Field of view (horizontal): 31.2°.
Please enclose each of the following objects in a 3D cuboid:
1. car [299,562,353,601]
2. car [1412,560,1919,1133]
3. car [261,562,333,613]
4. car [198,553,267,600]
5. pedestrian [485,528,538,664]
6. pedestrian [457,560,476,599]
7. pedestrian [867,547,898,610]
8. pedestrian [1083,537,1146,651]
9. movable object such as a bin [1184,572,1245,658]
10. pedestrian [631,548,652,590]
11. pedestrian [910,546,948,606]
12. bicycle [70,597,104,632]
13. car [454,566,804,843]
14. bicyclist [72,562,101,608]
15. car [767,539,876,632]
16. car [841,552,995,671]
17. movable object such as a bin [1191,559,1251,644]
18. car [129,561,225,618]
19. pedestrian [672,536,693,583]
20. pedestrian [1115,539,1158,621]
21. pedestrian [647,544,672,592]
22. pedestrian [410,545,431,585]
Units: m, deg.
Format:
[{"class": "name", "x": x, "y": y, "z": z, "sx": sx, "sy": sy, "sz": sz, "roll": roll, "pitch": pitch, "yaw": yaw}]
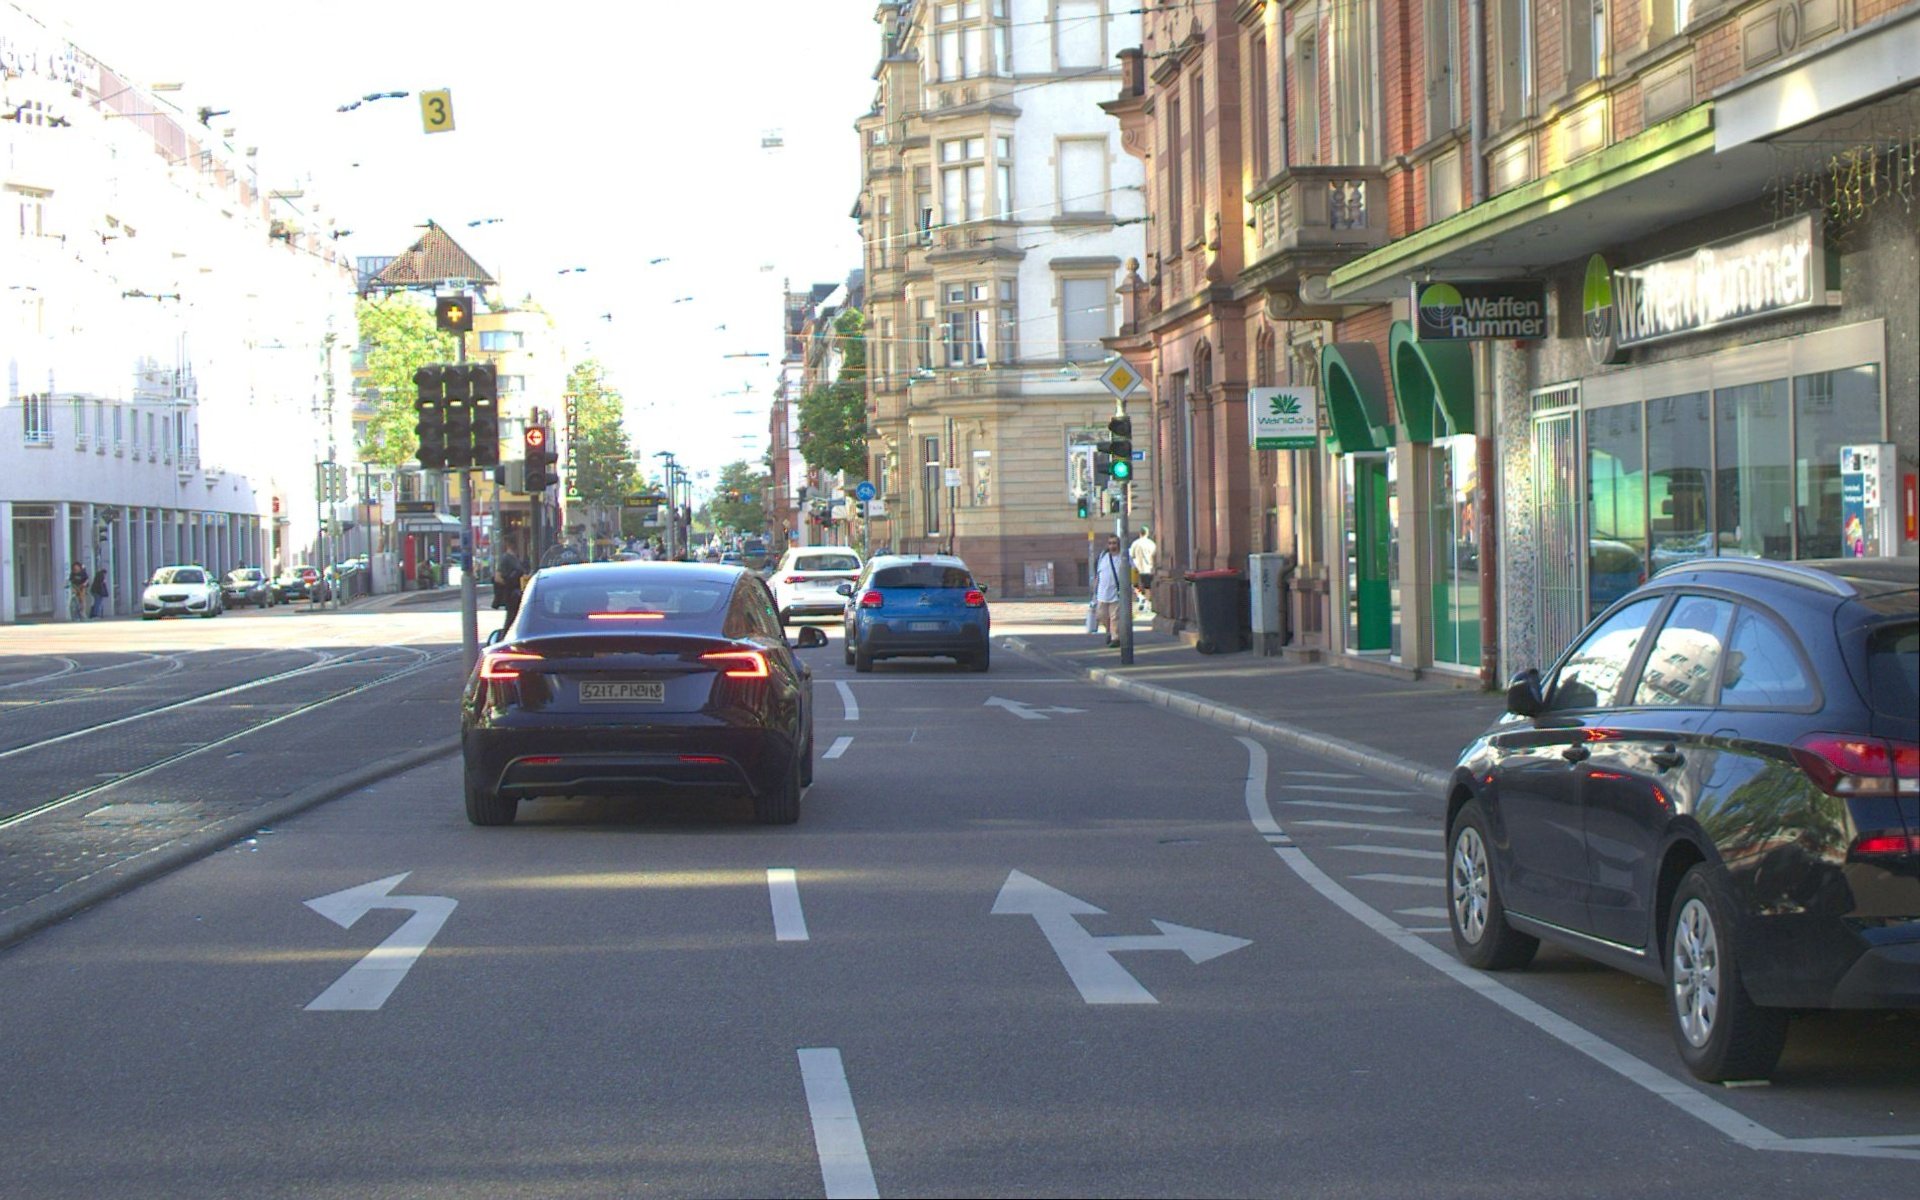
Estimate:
[{"class": "car", "x": -25.878, "y": -0.776, "z": 140.485, "sx": 1.728, "sy": 1.509, "sz": 4.405, "roll": -1, "pitch": 1, "yaw": -5}, {"class": "car", "x": 2.748, "y": 0.615, "z": 11.076, "sx": 1.690, "sy": 1.446, "sz": 4.360, "roll": 0, "pitch": 1, "yaw": -4}, {"class": "car", "x": -25.837, "y": -0.491, "z": 134.110, "sx": 2.227, "sy": 1.904, "sz": 4.610, "roll": -1, "pitch": 1, "yaw": -5}, {"class": "car", "x": -25.940, "y": -0.822, "z": 122.683, "sx": 1.993, "sy": 1.590, "sz": 4.001, "roll": -2, "pitch": 0, "yaw": -6}, {"class": "pedestrian", "x": -5.976, "y": -0.061, "z": 45.850, "sx": 0.558, "sy": 1.757, "sz": 0.895, "roll": -3, "pitch": 1, "yaw": -4}, {"class": "pedestrian", "x": -20.313, "y": -0.841, "z": 141.528, "sx": 0.731, "sy": 1.553, "sz": 0.743, "roll": -1, "pitch": 2, "yaw": -5}, {"class": "pedestrian", "x": -2.228, "y": -0.614, "z": 98.668, "sx": 0.779, "sy": 1.743, "sz": 1.093, "roll": -1, "pitch": 3, "yaw": -6}, {"class": "pedestrian", "x": 2.213, "y": -0.091, "z": 49.156, "sx": 0.681, "sy": 1.602, "sz": 0.731, "roll": -2, "pitch": 1, "yaw": -14}, {"class": "movable object such as a bin", "x": 3.321, "y": 0.187, "z": 44.962, "sx": 0.663, "sy": 1.069, "sz": 0.591, "roll": -4, "pitch": 1, "yaw": -2}, {"class": "pedestrian", "x": -11.973, "y": -1.161, "z": 129.273, "sx": 0.586, "sy": 1.556, "sz": 0.469, "roll": -1, "pitch": 1, "yaw": 32}, {"class": "pedestrian", "x": -0.860, "y": -0.665, "z": 95.778, "sx": 0.922, "sy": 1.626, "sz": 0.942, "roll": -2, "pitch": 0, "yaw": 5}, {"class": "bicycle", "x": -24.937, "y": 0.406, "z": 98.249, "sx": 0.594, "sy": 0.969, "sz": 1.818, "roll": -2, "pitch": 0, "yaw": -3}, {"class": "car", "x": -1.879, "y": 0.529, "z": 20.005, "sx": 1.810, "sy": 1.419, "sz": 4.154, "roll": 0, "pitch": 1, "yaw": -4}, {"class": "bicyclist", "x": -24.942, "y": -0.433, "z": 98.183, "sx": 0.588, "sy": 1.281, "sz": 0.927, "roll": -2, "pitch": 0, "yaw": -3}, {"class": "car", "x": -2.699, "y": -0.269, "z": 66.190, "sx": 1.993, "sy": 1.737, "sz": 4.000, "roll": 0, "pitch": 0, "yaw": -4}, {"class": "car", "x": -0.580, "y": 0.119, "z": 44.316, "sx": 1.781, "sy": 1.446, "sz": 3.655, "roll": 0, "pitch": 1, "yaw": -4}, {"class": "movable object such as a bin", "x": 3.458, "y": 0.014, "z": 45.555, "sx": 0.663, "sy": 1.069, "sz": 0.545, "roll": -4, "pitch": 1, "yaw": -2}, {"class": "car", "x": -21.426, "y": -0.312, "z": 94.236, "sx": 1.993, "sy": 1.446, "sz": 4.503, "roll": -1, "pitch": 1, "yaw": -6}, {"class": "pedestrian", "x": -10.064, "y": -1.463, "z": 124.675, "sx": 0.636, "sy": 1.692, "sz": 0.933, "roll": 0, "pitch": 0, "yaw": 3}, {"class": "pedestrian", "x": 3.629, "y": -0.407, "z": 70.548, "sx": 0.701, "sy": 1.649, "sz": 0.631, "roll": -2, "pitch": 0, "yaw": 18}, {"class": "pedestrian", "x": -11.323, "y": -1.208, "z": 129.509, "sx": 0.718, "sy": 1.771, "sz": 0.564, "roll": -1, "pitch": 1, "yaw": 32}, {"class": "pedestrian", "x": -20.674, "y": -1.350, "z": 131.812, "sx": 0.731, "sy": 1.522, "sz": 0.743, "roll": -1, "pitch": 2, "yaw": -5}]
